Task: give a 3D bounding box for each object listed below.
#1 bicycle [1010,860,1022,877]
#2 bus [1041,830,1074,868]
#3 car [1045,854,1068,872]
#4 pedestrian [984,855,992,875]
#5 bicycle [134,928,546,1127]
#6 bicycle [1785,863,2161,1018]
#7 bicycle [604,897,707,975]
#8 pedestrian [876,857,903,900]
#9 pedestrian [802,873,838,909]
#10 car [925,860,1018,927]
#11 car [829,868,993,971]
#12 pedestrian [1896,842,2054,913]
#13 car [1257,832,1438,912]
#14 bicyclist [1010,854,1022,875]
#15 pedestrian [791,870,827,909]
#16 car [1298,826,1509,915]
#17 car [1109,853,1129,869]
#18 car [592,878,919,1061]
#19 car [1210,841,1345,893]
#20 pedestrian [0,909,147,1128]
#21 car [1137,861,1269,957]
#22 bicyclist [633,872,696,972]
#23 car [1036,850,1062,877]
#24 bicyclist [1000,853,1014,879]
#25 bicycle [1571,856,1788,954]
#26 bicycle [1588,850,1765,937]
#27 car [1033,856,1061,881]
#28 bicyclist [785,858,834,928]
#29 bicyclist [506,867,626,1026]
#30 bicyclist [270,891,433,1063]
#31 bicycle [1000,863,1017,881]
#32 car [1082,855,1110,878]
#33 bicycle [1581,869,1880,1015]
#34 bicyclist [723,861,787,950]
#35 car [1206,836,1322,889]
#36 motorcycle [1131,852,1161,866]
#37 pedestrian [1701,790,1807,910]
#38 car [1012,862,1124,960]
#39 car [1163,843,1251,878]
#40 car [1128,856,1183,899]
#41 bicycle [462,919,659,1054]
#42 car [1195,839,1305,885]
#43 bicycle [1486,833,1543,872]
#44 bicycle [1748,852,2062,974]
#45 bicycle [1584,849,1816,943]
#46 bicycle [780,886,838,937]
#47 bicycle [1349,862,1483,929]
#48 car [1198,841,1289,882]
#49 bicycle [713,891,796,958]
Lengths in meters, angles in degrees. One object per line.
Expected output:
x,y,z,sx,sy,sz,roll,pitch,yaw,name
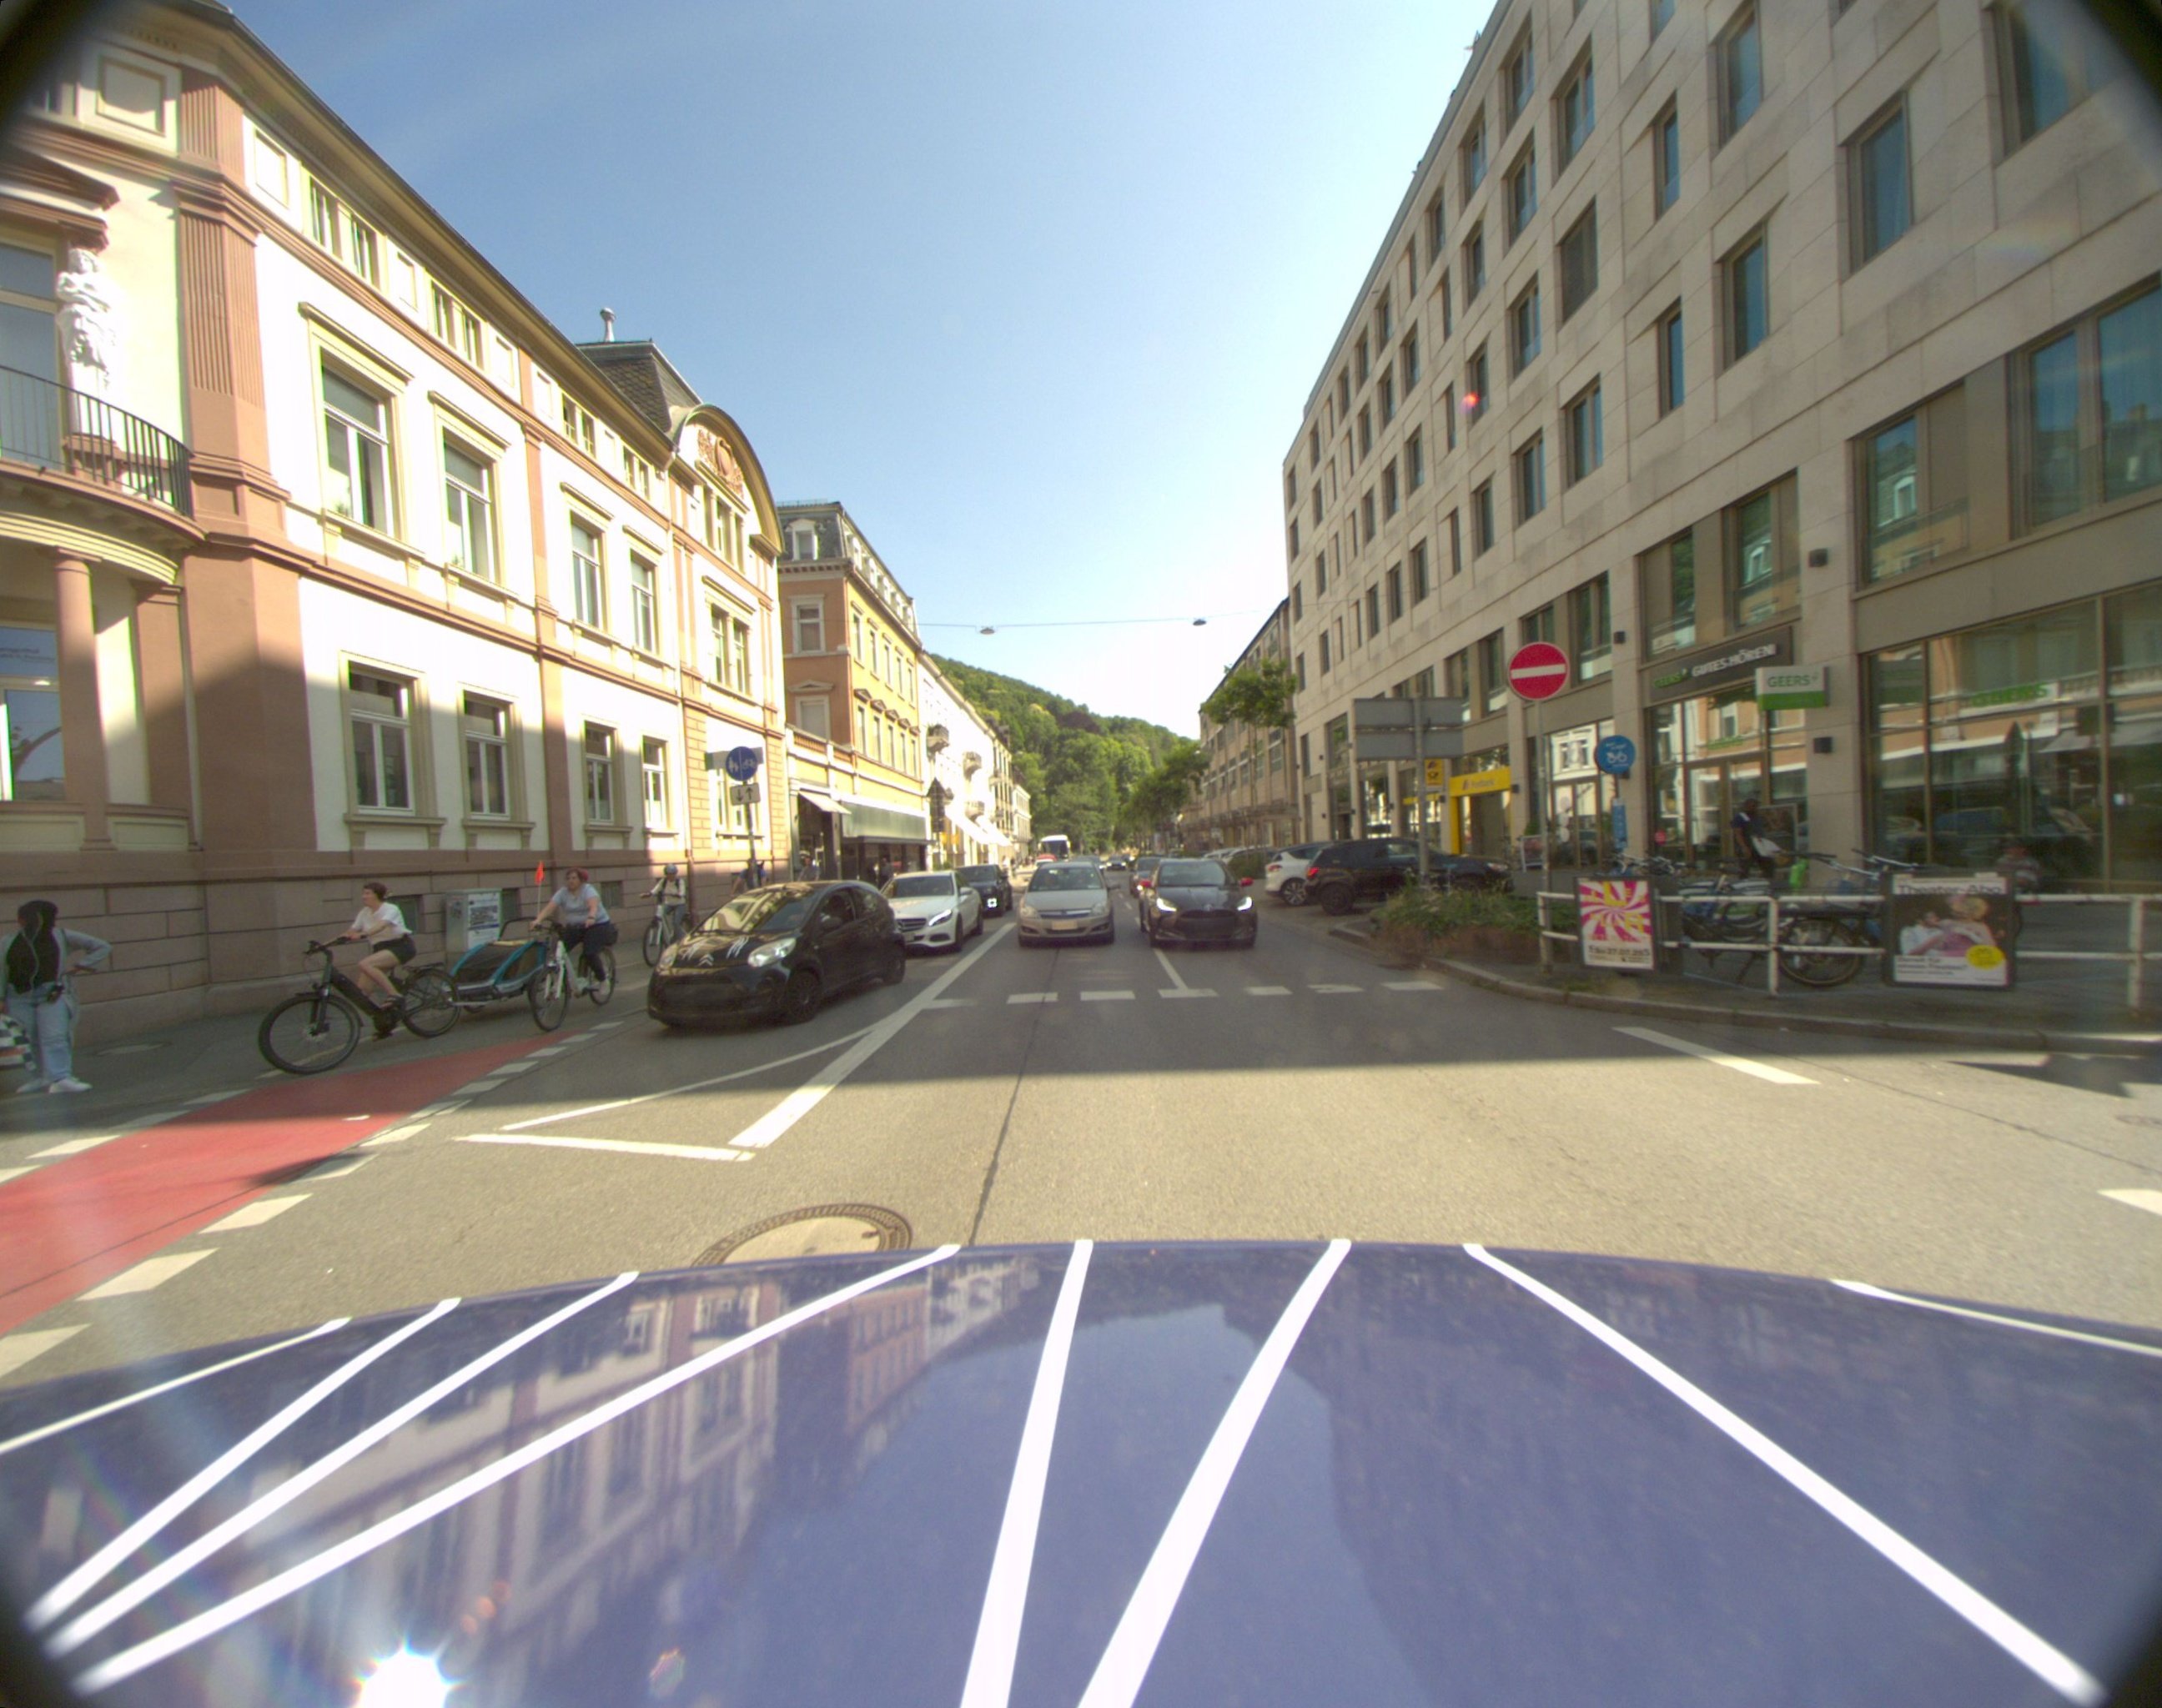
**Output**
-4.886,1.095,57.248,0.596,1.120,2.093,-1,2,3,bicycle
-2.233,-0.554,77.581,2.924,3.516,12.498,-2,1,0,bus
-2.089,0.763,66.704,1.868,1.479,4.414,-3,0,-1,car
-7.734,0.914,63.231,0.482,1.659,0.868,-2,1,1,pedestrian
-6.953,1.524,7.585,0.750,1.121,3.239,-1,2,3,bicycle
7.636,0.685,6.683,2.059,1.162,0.606,-1,2,38,bicycle
-7.181,1.354,12.947,0.607,1.120,1.860,-1,0,3,bicycle
-8.205,1.046,32.568,0.840,1.781,0.767,-2,1,2,pedestrian
-9.624,1.349,28.045,1.088,1.308,0.625,0,1,0,pedestrian
-3.057,1.062,22.114,1.891,1.483,4.289,-5,1,1,car
-3.057,1.111,14.839,1.957,1.416,4.886,-5,0,0,car
12.772,0.329,10.886,1.252,0.920,0.841,-3,1,0,pedestrian
7.006,0.453,20.461,4.165,1.627,2.103,-7,0,10,car
-4.897,0.793,57.167,0.747,1.564,0.844,-2,1,2,bicyclist
-9.720,1.264,27.146,1.032,1.308,0.625,-1,1,0,pedestrian
7.153,0.367,17.045,4.025,1.593,1.961,-5,1,24,car
3.665,0.619,73.240,1.733,1.389,4.106,-3,0,2,car
-3.437,1.149,8.882,1.631,1.470,3.734,-3,0,10,car
7.135,0.491,27.753,4.308,1.441,1.790,-6,0,35,car
-8.827,1.341,6.332,0.904,1.603,0.974,-3,4,-27,pedestrian
2.039,0.882,13.871,1.868,1.469,4.107,-1,-1,2,car
-7.127,1.138,13.032,0.516,1.627,0.844,-2,1,2,bicyclist
-2.553,0.766,61.697,1.703,1.900,4.607,-7,-1,-1,car
-4.927,0.777,50.897,0.747,1.693,1.036,-2,1,2,bicyclist
7.603,0.668,9.787,2.060,1.120,0.563,-5,0,26,bicycle
8.446,0.581,10.867,1.862,1.120,0.485,-5,0,26,bicycle
-2.497,1.048,55.988,1.799,1.516,4.262,-6,1,-1,car
-6.919,0.970,19.421,0.910,1.707,0.844,-2,1,-3,bicyclist
-5.946,1.034,8.822,0.684,1.707,0.844,-3,1,2,bicyclist
-7.077,1.150,7.415,0.747,1.563,0.845,0,-1,2,bicyclist
-4.895,1.179,51.106,0.743,1.120,2.573,-1,1,3,bicycle
0.989,0.826,50.597,1.775,1.469,4.107,-1,-1,1,car
6.048,0.763,7.193,0.606,1.166,2.059,-5,2,-44,bicycle
-6.531,1.009,15.274,0.840,1.707,0.844,-2,1,2,bicyclist
7.437,0.356,30.950,4.029,1.584,1.822,-8,0,34,car
6.496,0.489,76.254,0.980,1.342,3.095,-3,1,-42,motorcycle
11.216,-0.067,12.695,0.840,1.868,0.844,-7,1,2,pedestrian
-0.249,0.971,14.882,1.791,1.484,4.367,-3,0,-1,car
7.242,0.394,43.840,4.521,1.496,1.795,-7,1,32,car
2.731,0.810,28.554,1.733,1.389,4.106,-3,0,2,car
-5.932,1.459,8.855,0.737,1.121,2.033,-2,3,3,bicycle
7.667,0.355,34.452,4.493,1.424,1.865,-8,0,21,car
13.340,-0.059,23.459,0.497,1.101,2.161,-5,0,1,bicycle
8.313,0.598,7.807,2.059,1.120,0.648,-3,0,28,bicycle
8.287,0.587,10.313,2.324,1.120,0.563,-5,1,26,bicycle
-6.934,1.433,19.467,0.748,1.111,1.918,-4,0,0,bicycle
6.022,0.733,13.713,2.145,1.120,0.485,-2,0,3,bicycle
7.954,0.350,37.444,3.997,1.519,1.820,-6,2,1,car
-6.500,1.371,15.246,0.664,1.111,1.992,-2,0,3,bicycle
